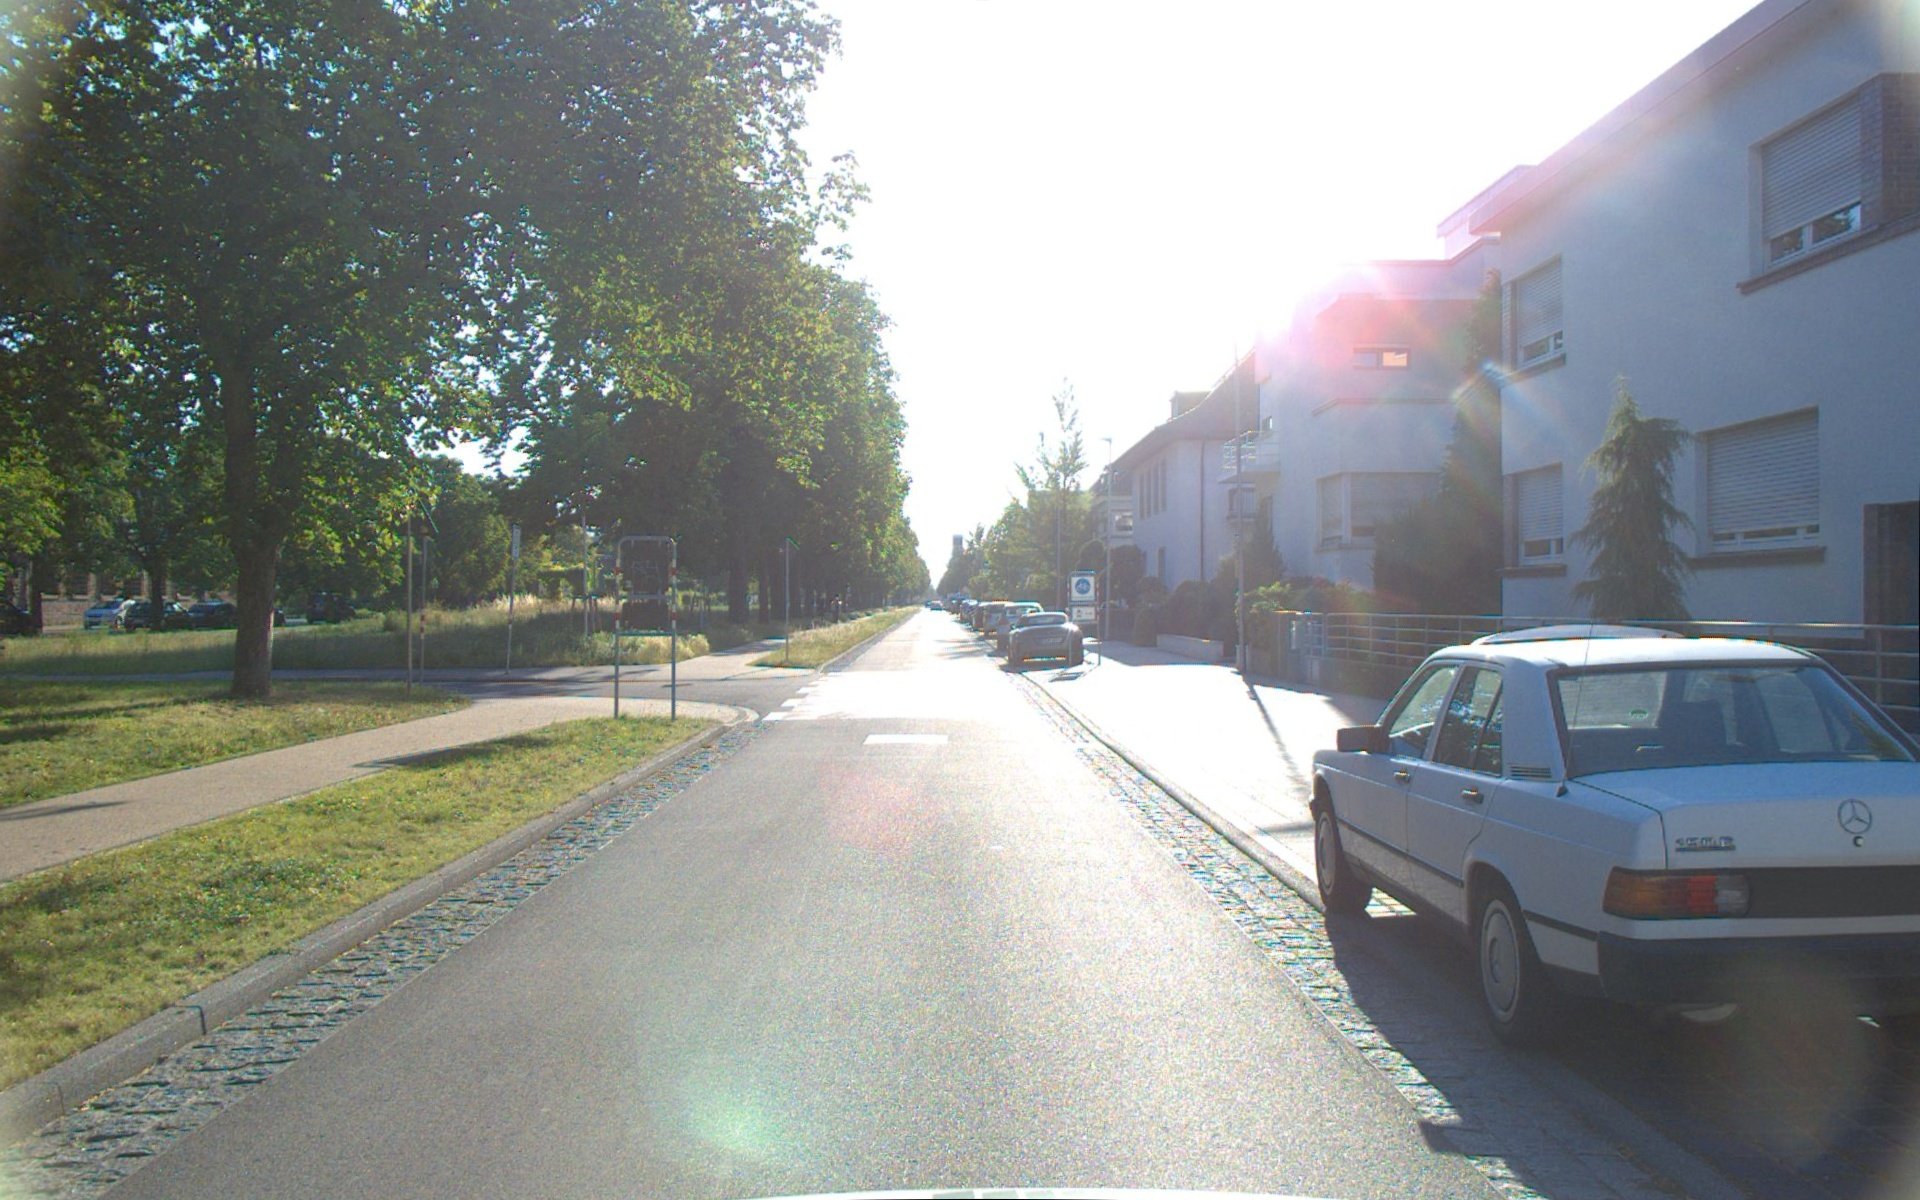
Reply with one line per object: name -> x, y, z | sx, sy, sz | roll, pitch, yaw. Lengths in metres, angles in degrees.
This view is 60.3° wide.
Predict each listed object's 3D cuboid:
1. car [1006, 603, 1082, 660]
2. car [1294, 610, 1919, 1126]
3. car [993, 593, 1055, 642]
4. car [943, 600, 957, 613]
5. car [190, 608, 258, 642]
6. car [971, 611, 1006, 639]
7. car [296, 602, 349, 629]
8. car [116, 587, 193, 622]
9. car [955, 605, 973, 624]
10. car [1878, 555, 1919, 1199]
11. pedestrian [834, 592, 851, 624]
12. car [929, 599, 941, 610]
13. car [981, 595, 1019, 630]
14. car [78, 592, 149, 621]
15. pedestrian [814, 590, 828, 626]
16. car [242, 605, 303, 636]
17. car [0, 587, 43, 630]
car -> 2.180, 0.796, 43.868 | 1.738, 1.311, 4.272 | -3, 1, 0
car -> 2.637, 0.777, 6.924 | 1.532, 1.414, 4.373 | -1, 0, -1
car -> 2.091, 0.564, 55.096 | 1.709, 1.500, 3.920 | -3, 0, -2
car -> -1.240, 0.777, 205.116 | 1.618, 1.568, 3.266 | 1, 0, 0
car -> -37.369, 1.242, 84.109 | 1.658, 1.625, 4.220 | 0, 0, -2
car -> 1.546, 1.388, 91.580 | 1.702, 1.474, 4.195 | -1, -1, -2
car -> -38.640, 0.928, 100.357 | 1.658, 1.625, 4.220 | 0, 0, -2
car -> -37.938, 0.205, 78.033 | 1.658, 1.625, 4.220 | 0, 0, -2
car -> 0.347, 1.227, 142.512 | 1.467, 1.594, 3.266 | 0, 0, 0
car -> 2.778, 0.678, 1.442 | 1.644, 1.583, 4.130 | -1, 0, 0
pedestrian -> -6.205, 0.418, 87.143 | 0.767, 1.643, 0.952 | 0, 0, 2
car -> -3.724, 0.619, 246.767 | 1.618, 1.568, 3.266 | 1, 0, -1
car -> 1.774, 0.548, 75.009 | 1.594, 1.531, 3.633 | -2, 0, 0
car -> -43.198, 0.319, 84.490 | 1.596, 1.430, 3.999 | 1, 0, -1
pedestrian -> -7.272, 0.418, 86.746 | 0.611, 1.863, 0.886 | 0, 0, 2
car -> -37.505, 1.092, 90.329 | 1.658, 1.625, 4.220 | 0, 0, -2
car -> -37.446, 0.316, 63.969 | 1.658, 1.625, 4.220 | 0, 0, -2
